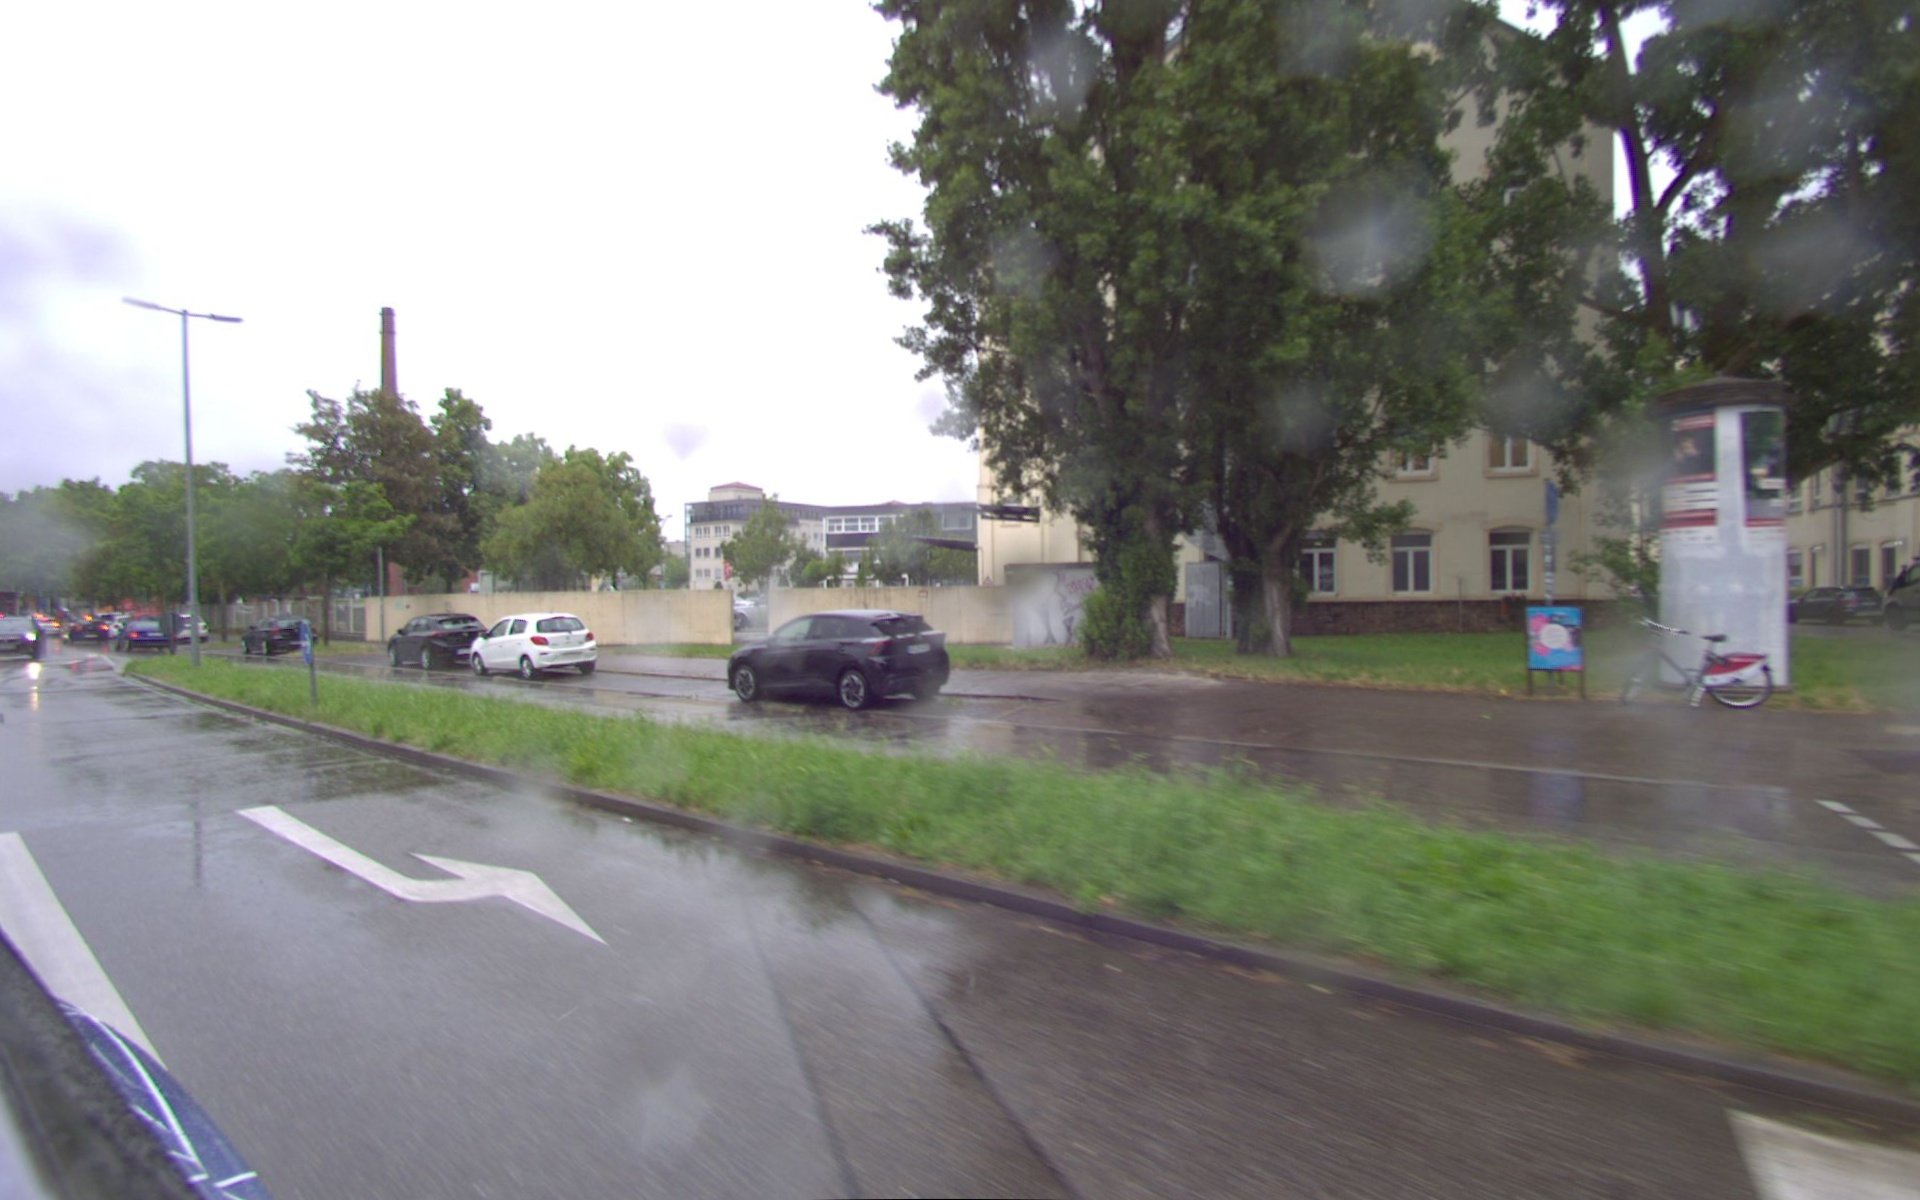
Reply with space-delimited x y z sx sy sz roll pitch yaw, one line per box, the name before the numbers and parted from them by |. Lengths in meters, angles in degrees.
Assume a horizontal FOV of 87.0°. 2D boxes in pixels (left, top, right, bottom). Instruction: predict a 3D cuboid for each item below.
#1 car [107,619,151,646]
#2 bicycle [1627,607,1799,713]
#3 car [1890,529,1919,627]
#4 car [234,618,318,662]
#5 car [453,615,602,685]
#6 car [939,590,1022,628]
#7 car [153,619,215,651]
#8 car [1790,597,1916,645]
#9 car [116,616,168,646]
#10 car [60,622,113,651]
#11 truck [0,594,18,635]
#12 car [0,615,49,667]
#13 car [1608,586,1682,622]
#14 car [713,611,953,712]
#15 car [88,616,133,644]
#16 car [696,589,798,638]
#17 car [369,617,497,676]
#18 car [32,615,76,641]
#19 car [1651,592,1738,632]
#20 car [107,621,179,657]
car | -50.252 1.948 61.159 3.720 1.464 1.671 -1 1 45
bicycle | 9.124 0.695 12.318 1.621 1.195 0.691 -1 1 37
car | 32.392 -0.714 31.021 2.808 3.217 6.195 -1 1 11
car | -25.594 1.442 37.817 4.097 1.456 1.678 -1 1 43
car | -10.389 1.133 24.171 4.119 1.485 1.586 -1 1 40
car | 1.062 0.448 51.527 3.957 1.778 1.993 -1 0 11
car | -40.024 1.768 52.167 4.679 1.471 1.755 -1 1 43
car | 34.349 0.773 39.087 1.874 1.669 3.986 -1 1 11
car | -46.459 1.731 57.466 3.796 1.610 1.607 -1 1 41
car | -47.253 1.959 54.717 3.946 1.512 1.687 -1 -2 43
truck | -107.028 1.611 111.697 10.788 4.418 3.781 -1 1 44
car | -32.903 1.393 35.171 1.805 1.641 4.005 -2 1 -42
car | 37.355 0.178 55.303 1.980 1.829 3.985 -1 1 12
car | -2.199 0.925 16.751 4.192 1.407 1.528 -1 2 41
car | -56.587 1.984 67.396 4.038 1.694 1.856 -1 1 44
car | -9.378 0.580 44.752 3.952 2.006 1.996 -1 1 7
car | -14.587 1.222 27.909 4.178 1.393 1.709 -1 2 42
car | -64.431 1.951 71.960 4.176 1.755 2.042 -1 1 45
car | 36.080 0.563 49.825 1.980 1.829 3.985 -1 1 12
car | -34.631 1.629 42.854 3.949 1.404 1.708 -1 -2 42
